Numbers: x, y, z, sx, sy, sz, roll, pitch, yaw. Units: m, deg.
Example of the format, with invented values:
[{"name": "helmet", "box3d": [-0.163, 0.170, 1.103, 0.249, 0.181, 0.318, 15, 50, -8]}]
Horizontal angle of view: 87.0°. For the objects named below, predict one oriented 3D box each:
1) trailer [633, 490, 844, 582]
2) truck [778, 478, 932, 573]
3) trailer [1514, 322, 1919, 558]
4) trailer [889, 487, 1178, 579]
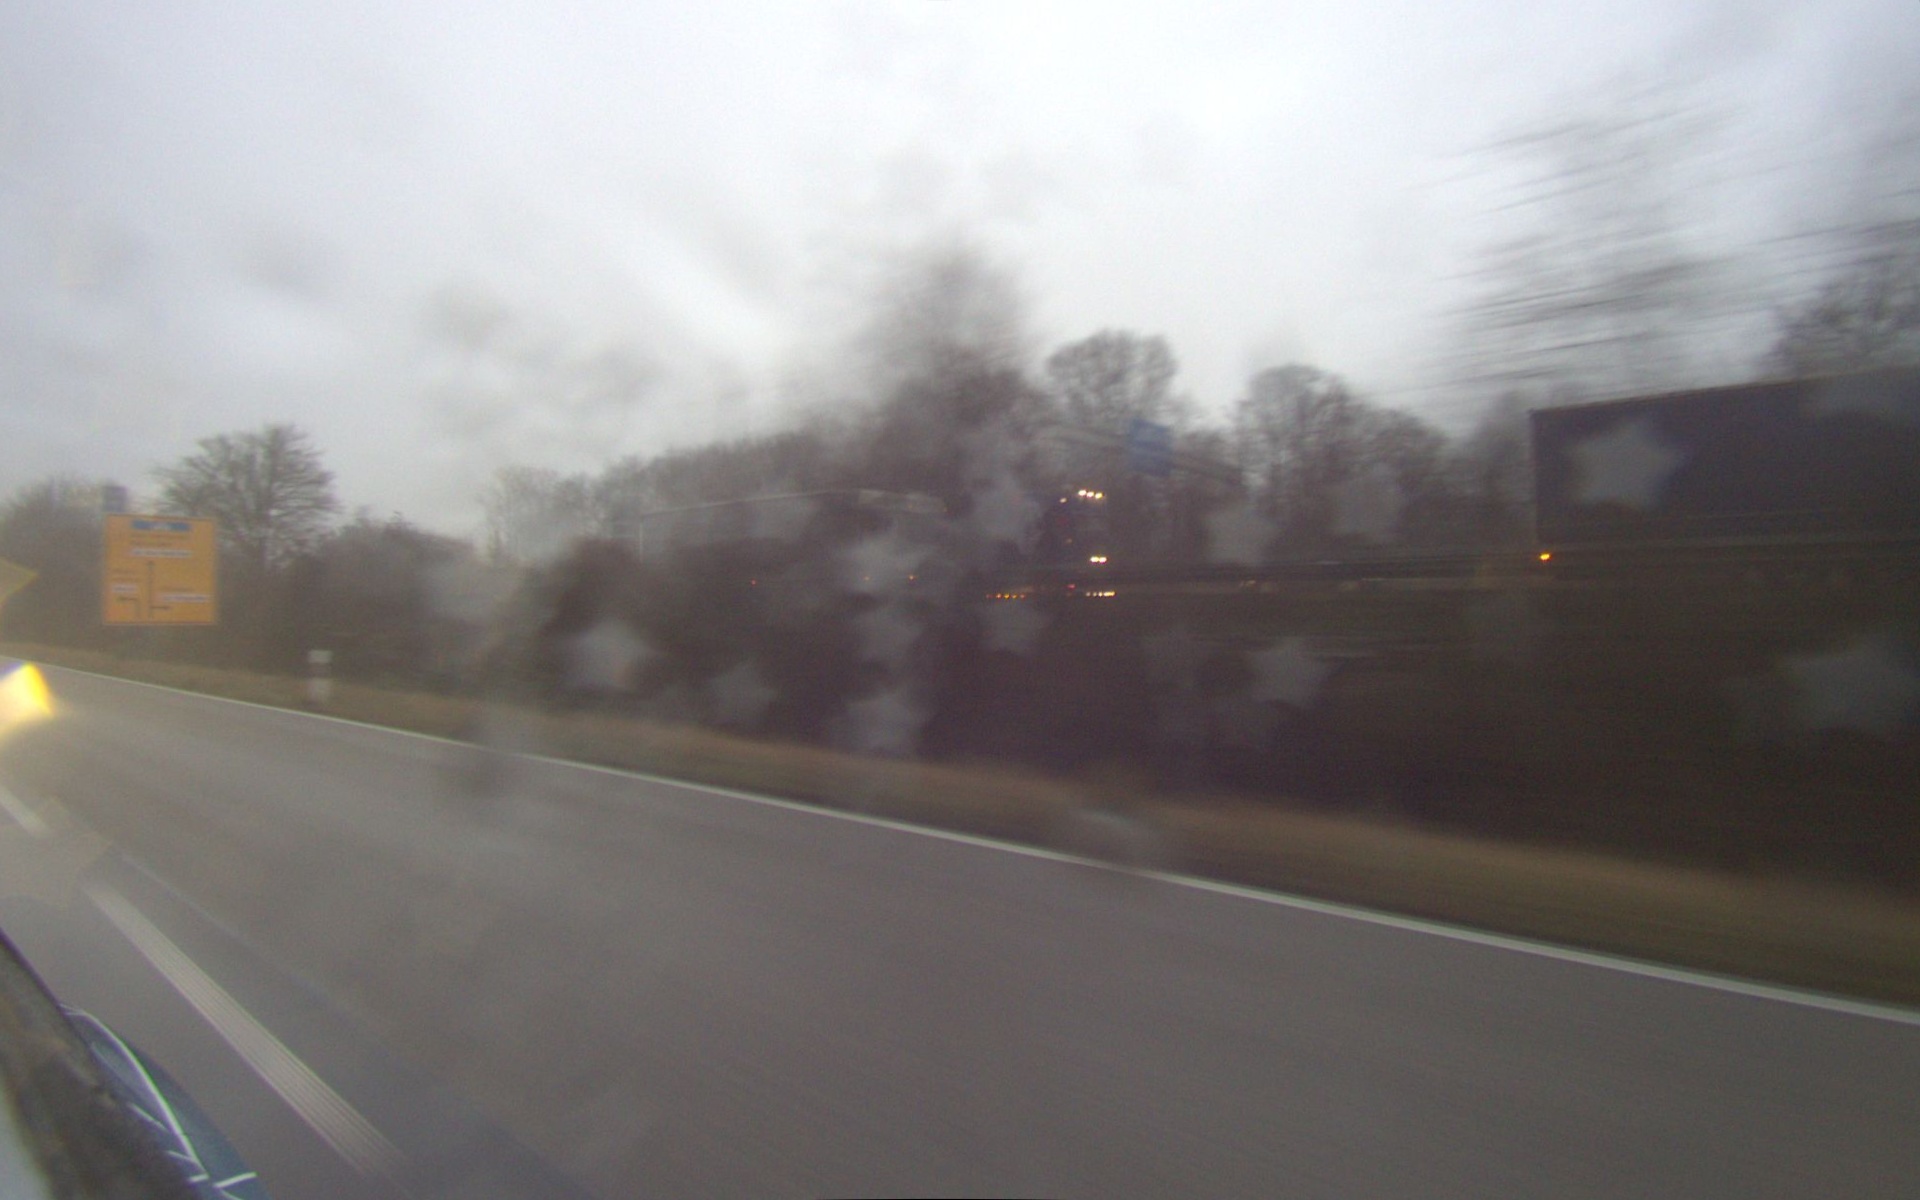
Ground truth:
[{"name": "trailer", "box3d": [-9.412, -2.431, 41.668, 11.079, 2.913, 2.410, -2, -2, 41]}, {"name": "truck", "box3d": [-3.894, -2.595, 36.836, 5.580, 2.909, 2.424, -2, -2, 41]}, {"name": "trailer", "box3d": [17.118, -2.960, 18.997, 11.380, 3.661, 2.967, -2, -2, 41]}, {"name": "trailer", "box3d": [2.285, -2.258, 37.269, 11.497, 2.443, 2.482, -2, -2, 42]}]
